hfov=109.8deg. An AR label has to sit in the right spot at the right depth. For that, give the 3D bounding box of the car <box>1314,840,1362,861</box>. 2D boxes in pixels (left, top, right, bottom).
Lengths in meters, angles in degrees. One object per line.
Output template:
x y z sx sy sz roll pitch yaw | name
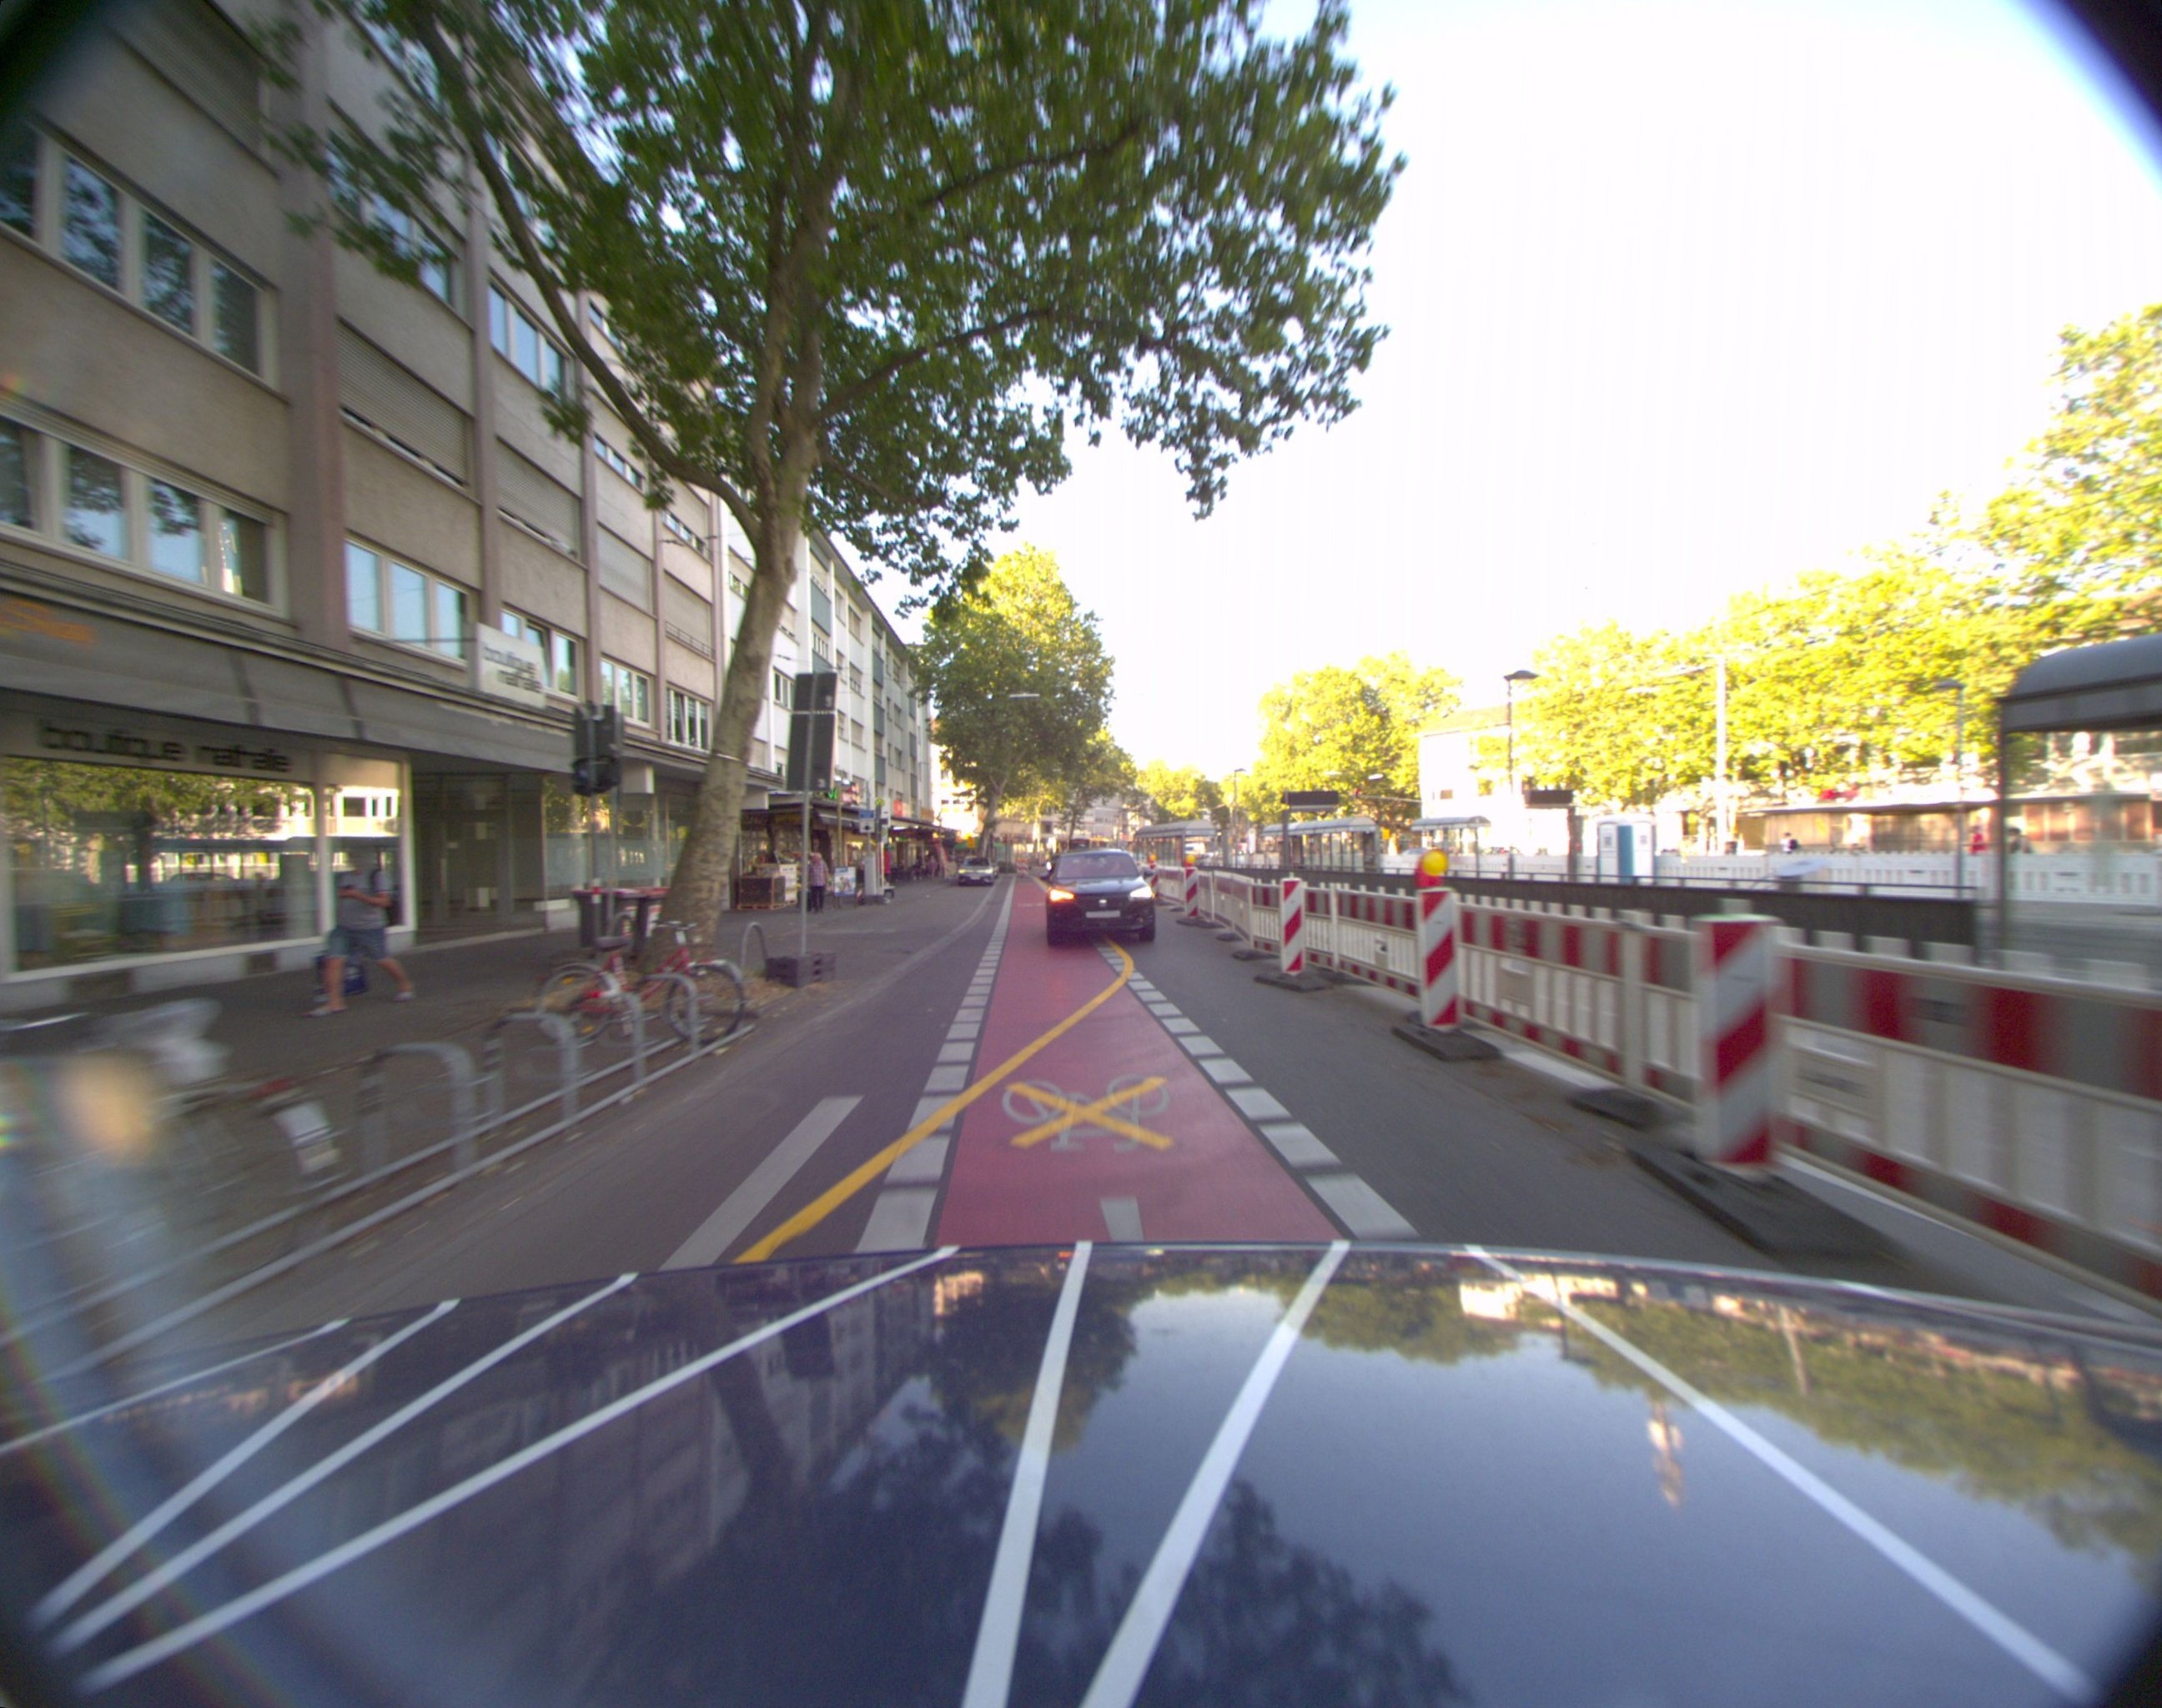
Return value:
20.718 -0.279 61.375 1.685 1.565 3.384 -2 1 -26 | car

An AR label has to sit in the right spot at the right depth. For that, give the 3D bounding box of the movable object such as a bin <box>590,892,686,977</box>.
-6.260 1.109 10.810 0.676 1.069 1.227 1 0 -3 | movable object such as a bin

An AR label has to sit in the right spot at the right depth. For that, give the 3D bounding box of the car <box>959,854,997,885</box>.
-5.662 0.828 42.183 1.924 1.588 4.788 0 0 -6 | car

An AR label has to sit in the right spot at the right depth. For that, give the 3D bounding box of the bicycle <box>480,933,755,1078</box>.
-3.695 1.194 6.176 1.794 1.016 0.643 0 1 -5 | bicycle

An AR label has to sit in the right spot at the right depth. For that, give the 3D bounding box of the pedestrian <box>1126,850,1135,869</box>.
4.027 0.433 61.393 0.623 1.551 0.471 -2 1 -4 | pedestrian

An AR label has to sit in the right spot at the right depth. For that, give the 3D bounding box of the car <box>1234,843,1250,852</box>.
30.134 -1.263 142.088 1.702 1.578 3.713 -1 1 31 | car

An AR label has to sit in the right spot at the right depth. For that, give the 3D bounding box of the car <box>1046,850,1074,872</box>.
-1.663 0.563 59.916 1.999 1.575 4.618 -3 -1 -2 | car

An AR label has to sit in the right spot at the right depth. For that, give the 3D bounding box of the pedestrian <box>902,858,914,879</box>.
-10.859 0.899 47.695 0.646 1.258 0.606 -1 1 -3 | pedestrian

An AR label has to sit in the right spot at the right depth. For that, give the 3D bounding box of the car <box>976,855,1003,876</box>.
-6.757 0.833 56.425 1.660 1.471 3.800 0 0 -3 | car

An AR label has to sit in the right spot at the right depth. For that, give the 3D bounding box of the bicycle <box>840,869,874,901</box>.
-8.290 1.120 28.244 0.779 1.097 2.266 1 0 -5 | bicycle

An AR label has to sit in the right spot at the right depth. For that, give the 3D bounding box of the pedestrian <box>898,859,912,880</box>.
-10.399 0.936 44.820 0.678 1.220 0.710 -1 1 -4 | pedestrian

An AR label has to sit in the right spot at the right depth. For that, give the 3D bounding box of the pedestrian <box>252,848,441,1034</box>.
-6.993 0.778 7.303 0.846 1.663 0.990 0 1 -3 | pedestrian

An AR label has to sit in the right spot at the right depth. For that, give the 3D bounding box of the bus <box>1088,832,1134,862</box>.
3.851 -0.872 93.177 2.735 3.188 12.375 -3 0 15 | bus

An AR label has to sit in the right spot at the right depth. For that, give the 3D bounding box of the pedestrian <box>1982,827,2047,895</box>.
28.179 0.210 22.950 0.887 2.002 0.883 -1 1 -1 | pedestrian

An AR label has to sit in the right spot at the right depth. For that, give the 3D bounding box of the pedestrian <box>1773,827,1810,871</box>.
33.006 -0.223 35.291 0.884 2.002 0.886 -2 1 -11 | pedestrian

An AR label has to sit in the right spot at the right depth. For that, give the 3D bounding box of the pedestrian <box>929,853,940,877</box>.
-9.630 0.721 49.926 0.584 1.551 0.642 0 1 -1 | pedestrian

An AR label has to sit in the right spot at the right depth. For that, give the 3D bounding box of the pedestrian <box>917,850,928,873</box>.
-11.937 0.533 57.374 0.710 1.699 0.677 -2 1 -8 | pedestrian

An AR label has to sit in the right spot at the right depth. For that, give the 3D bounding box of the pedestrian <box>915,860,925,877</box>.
-10.540 0.956 49.806 0.520 1.127 0.507 -1 1 -25 | pedestrian

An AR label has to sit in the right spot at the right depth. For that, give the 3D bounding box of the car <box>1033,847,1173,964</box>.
0.332 0.751 13.368 1.998 1.638 4.204 -3 0 0 | car

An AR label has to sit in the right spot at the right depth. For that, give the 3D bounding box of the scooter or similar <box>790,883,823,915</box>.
-7.648 1.239 21.171 0.731 0.839 0.578 -1 1 41 | scooter or similar

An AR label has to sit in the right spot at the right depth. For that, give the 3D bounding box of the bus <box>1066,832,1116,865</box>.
1.309 -0.640 82.735 2.735 3.188 12.318 -3 0 13 | bus

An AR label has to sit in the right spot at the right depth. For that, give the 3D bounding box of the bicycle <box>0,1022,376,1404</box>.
-3.667 1.194 2.683 1.718 1.052 0.644 0 1 -1 | bicycle

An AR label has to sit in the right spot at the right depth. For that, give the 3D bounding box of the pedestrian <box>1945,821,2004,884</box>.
28.992 -0.057 24.670 0.887 2.002 0.883 -1 1 -1 | pedestrian

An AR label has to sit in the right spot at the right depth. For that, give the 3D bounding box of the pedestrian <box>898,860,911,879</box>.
-10.655 0.935 45.893 0.678 1.170 0.710 -1 1 -3 | pedestrian

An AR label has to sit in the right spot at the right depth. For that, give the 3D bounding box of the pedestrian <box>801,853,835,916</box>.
-7.163 0.823 20.701 0.649 1.664 0.554 -3 1 -38 | pedestrian
